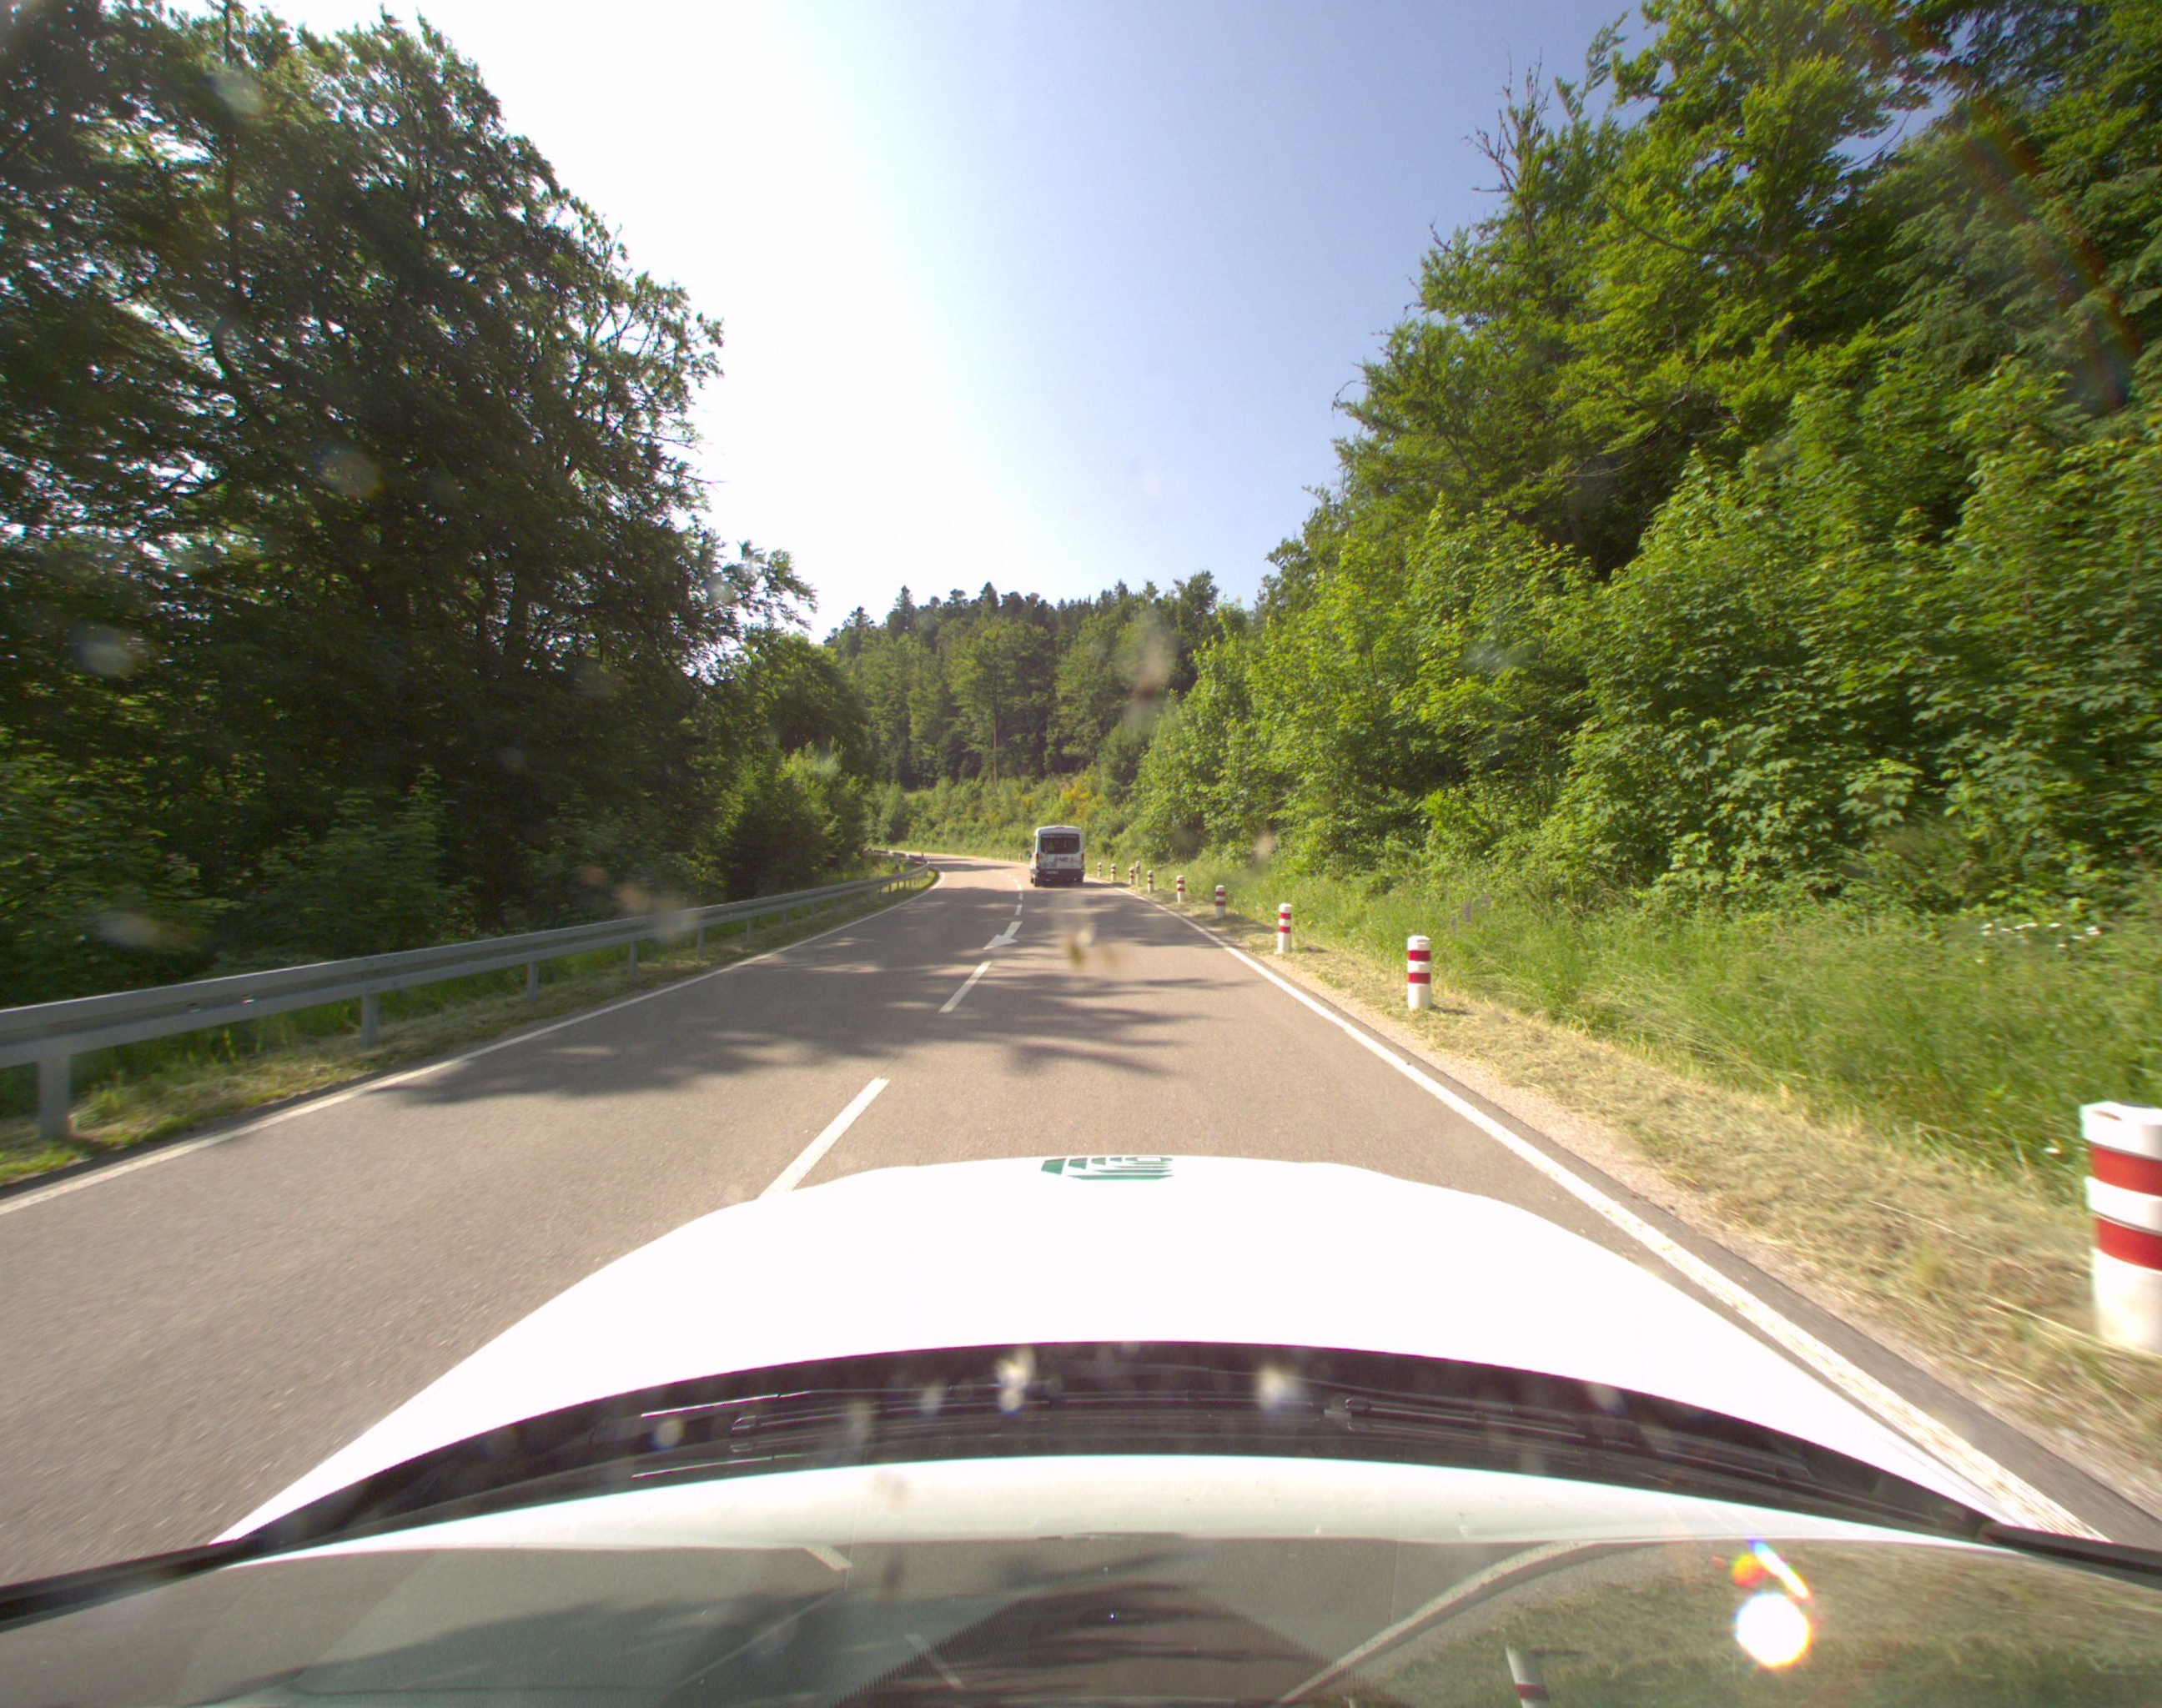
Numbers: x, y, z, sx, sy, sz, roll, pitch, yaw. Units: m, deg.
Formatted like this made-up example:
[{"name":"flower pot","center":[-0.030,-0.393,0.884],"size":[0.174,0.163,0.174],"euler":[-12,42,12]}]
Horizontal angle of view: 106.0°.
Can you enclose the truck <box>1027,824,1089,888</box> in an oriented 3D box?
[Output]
[{"name":"truck","center":[-1.083,0.054,34.941],"size":[2.113,2.498,5.346],"euler":[-1,0,-7]}]
